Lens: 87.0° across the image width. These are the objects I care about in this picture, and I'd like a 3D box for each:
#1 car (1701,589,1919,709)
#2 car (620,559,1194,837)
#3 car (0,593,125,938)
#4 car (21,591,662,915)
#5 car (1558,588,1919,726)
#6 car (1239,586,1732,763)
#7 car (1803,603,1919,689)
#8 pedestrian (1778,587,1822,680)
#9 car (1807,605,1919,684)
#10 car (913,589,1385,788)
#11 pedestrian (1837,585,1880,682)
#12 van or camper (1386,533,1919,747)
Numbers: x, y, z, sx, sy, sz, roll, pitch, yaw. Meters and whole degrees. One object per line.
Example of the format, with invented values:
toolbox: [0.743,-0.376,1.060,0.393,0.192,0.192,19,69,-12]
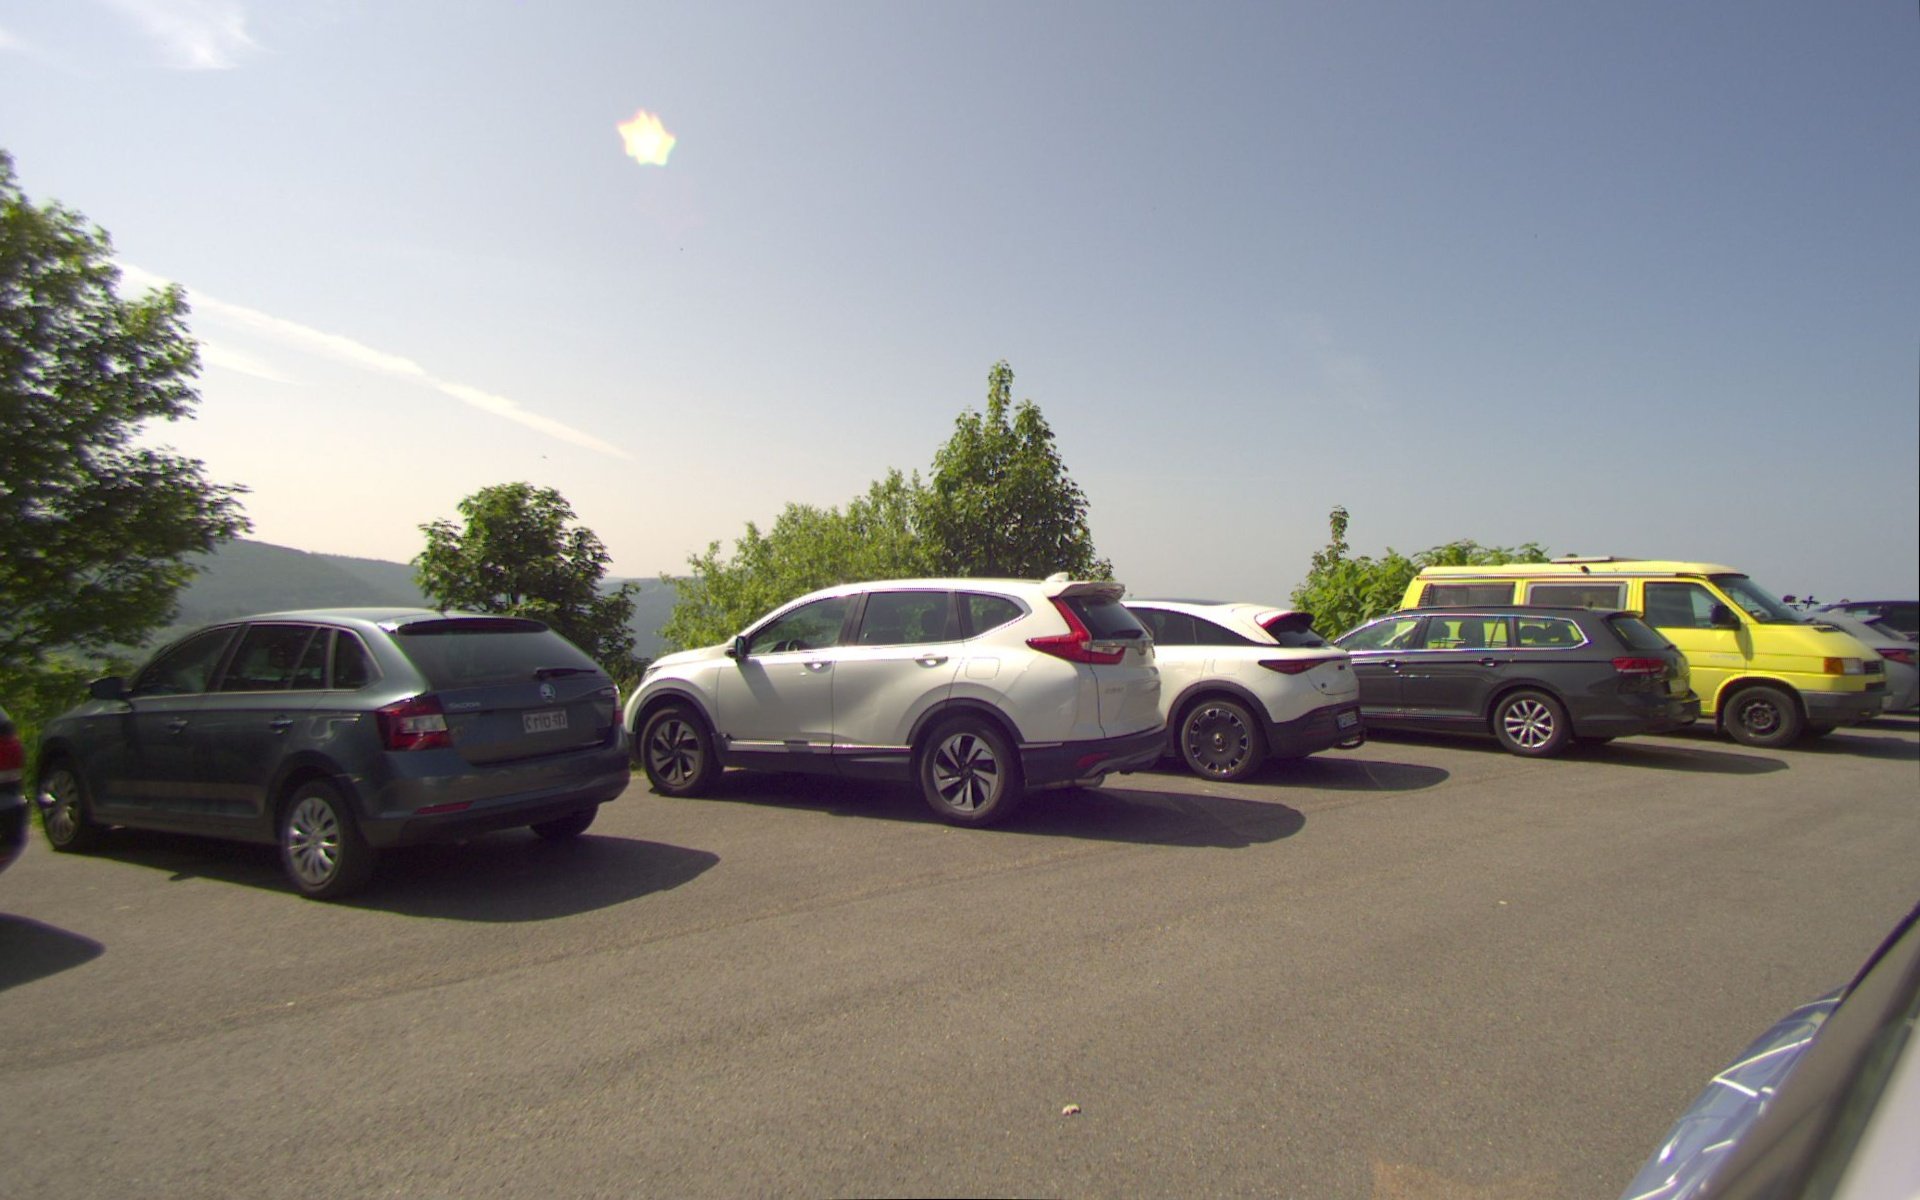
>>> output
car: [13.380,0.676,14.740,3.987,1.634,1.886,0,-1,44]
car: [-0.478,0.629,7.923,4.148,1.671,1.872,-2,-1,29]
car: [-6.149,0.751,4.637,4.001,1.480,1.882,-1,-1,21]
car: [-3.842,0.740,6.229,3.768,1.478,1.647,-1,-1,27]
car: [10.769,0.672,13.851,1.673,1.609,4.161,1,-1,-38]
car: [5.386,0.699,10.898,1.780,1.507,4.358,2,-2,-40]
car: [18.382,0.875,18.925,3.981,1.529,1.815,1,-1,40]
pedestrian: [17.735,0.695,21.371,0.667,1.924,0.609,1,-2,-42]
car: [20.267,0.905,20.729,4.395,1.588,1.878,0,-1,43]
car: [1.714,0.664,9.752,4.075,1.519,1.918,0,0,37]
pedestrian: [16.561,0.603,18.652,0.502,1.747,0.560,-1,-1,36]
van or camper: [8.054,0.448,12.256,1.847,2.040,5.103,1,-2,-36]
